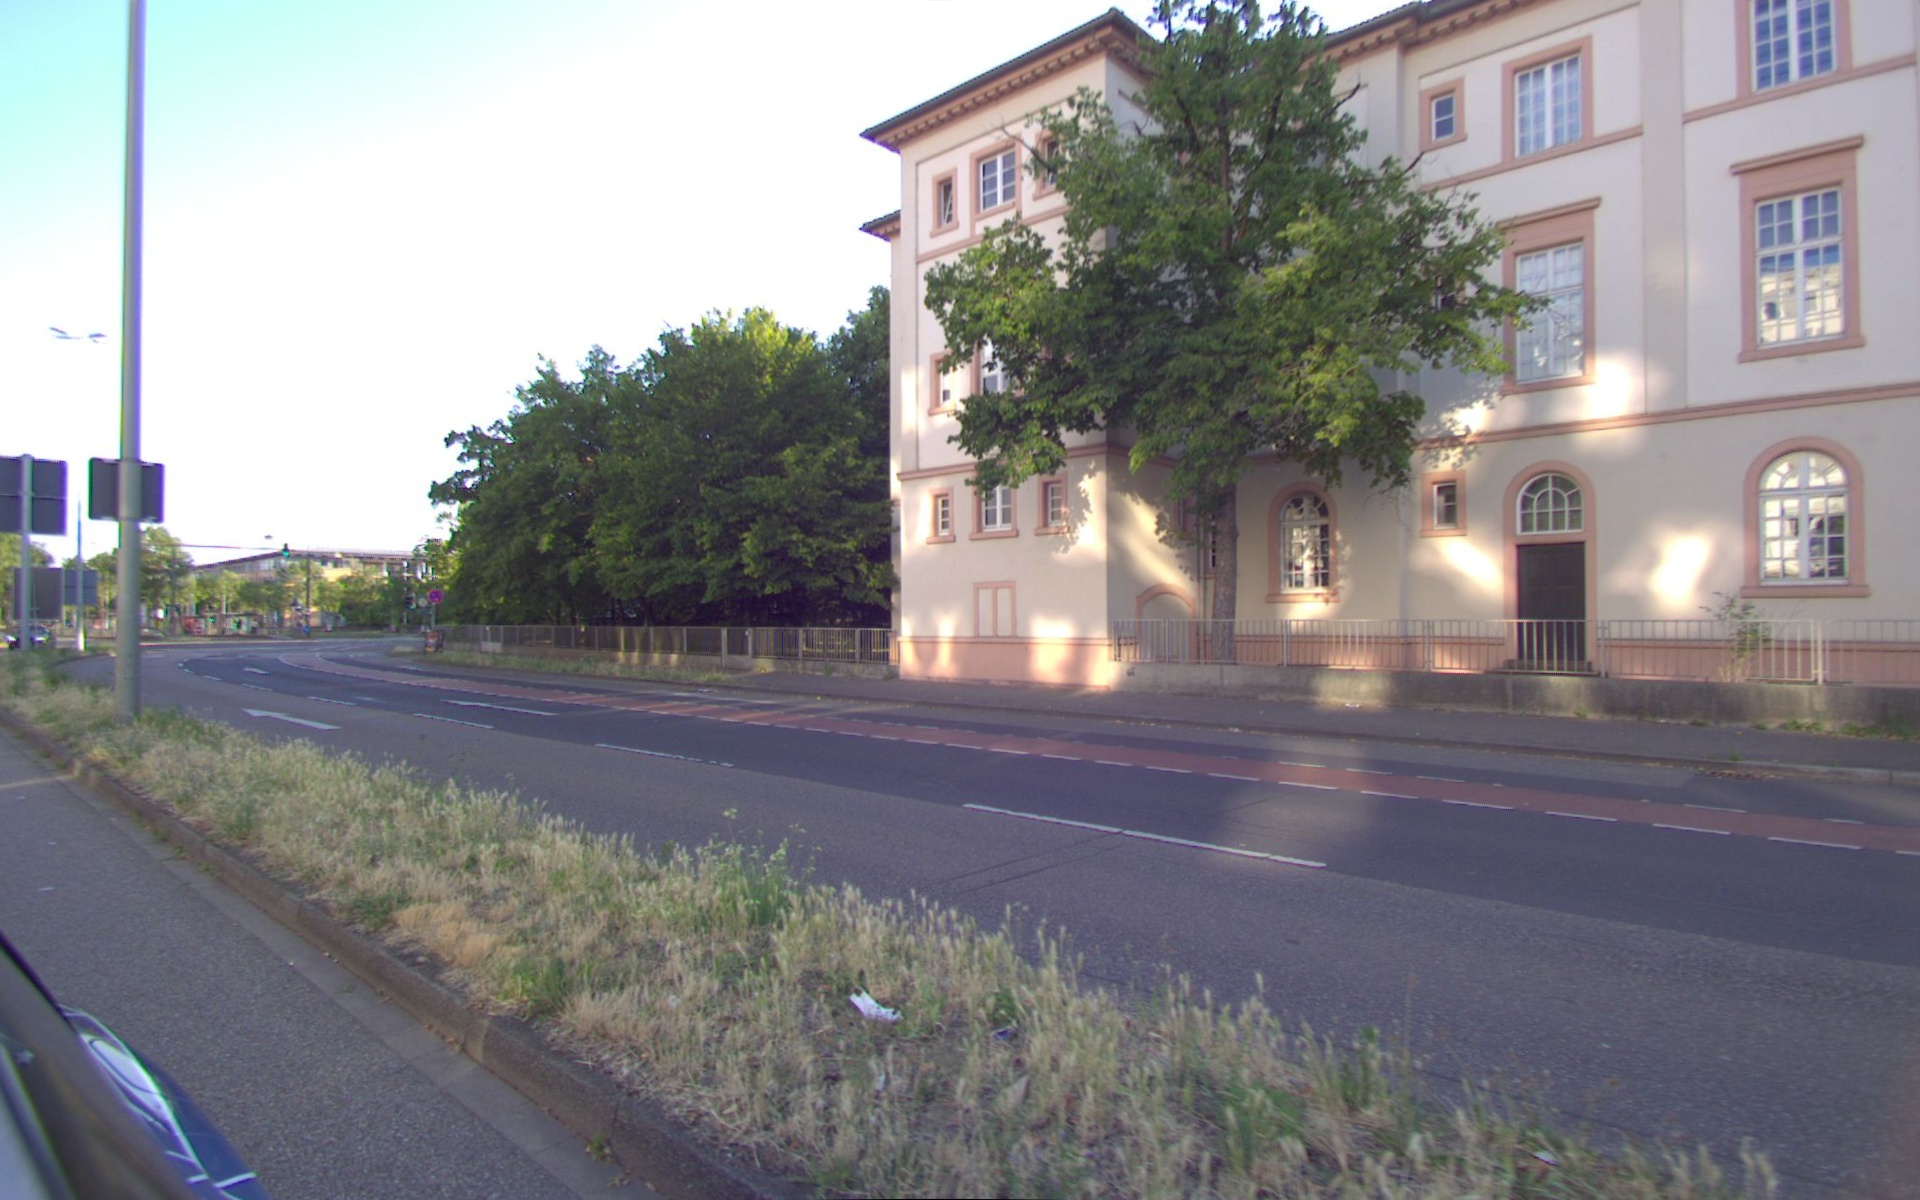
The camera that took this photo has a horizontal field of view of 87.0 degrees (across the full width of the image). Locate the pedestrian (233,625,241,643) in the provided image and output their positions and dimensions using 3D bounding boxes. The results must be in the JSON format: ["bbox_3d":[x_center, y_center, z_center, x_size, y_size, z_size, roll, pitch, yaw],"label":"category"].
[{"bbox_3d":[-82.738,3.927,115.827,0.664,2.029,0.549,-2,-2,41],"label":"pedestrian"}]

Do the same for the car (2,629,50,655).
[{"bbox_3d":[-56.567,2.531,61.371,1.704,1.460,4.055,-1,-1,-37],"label":"car"}]
